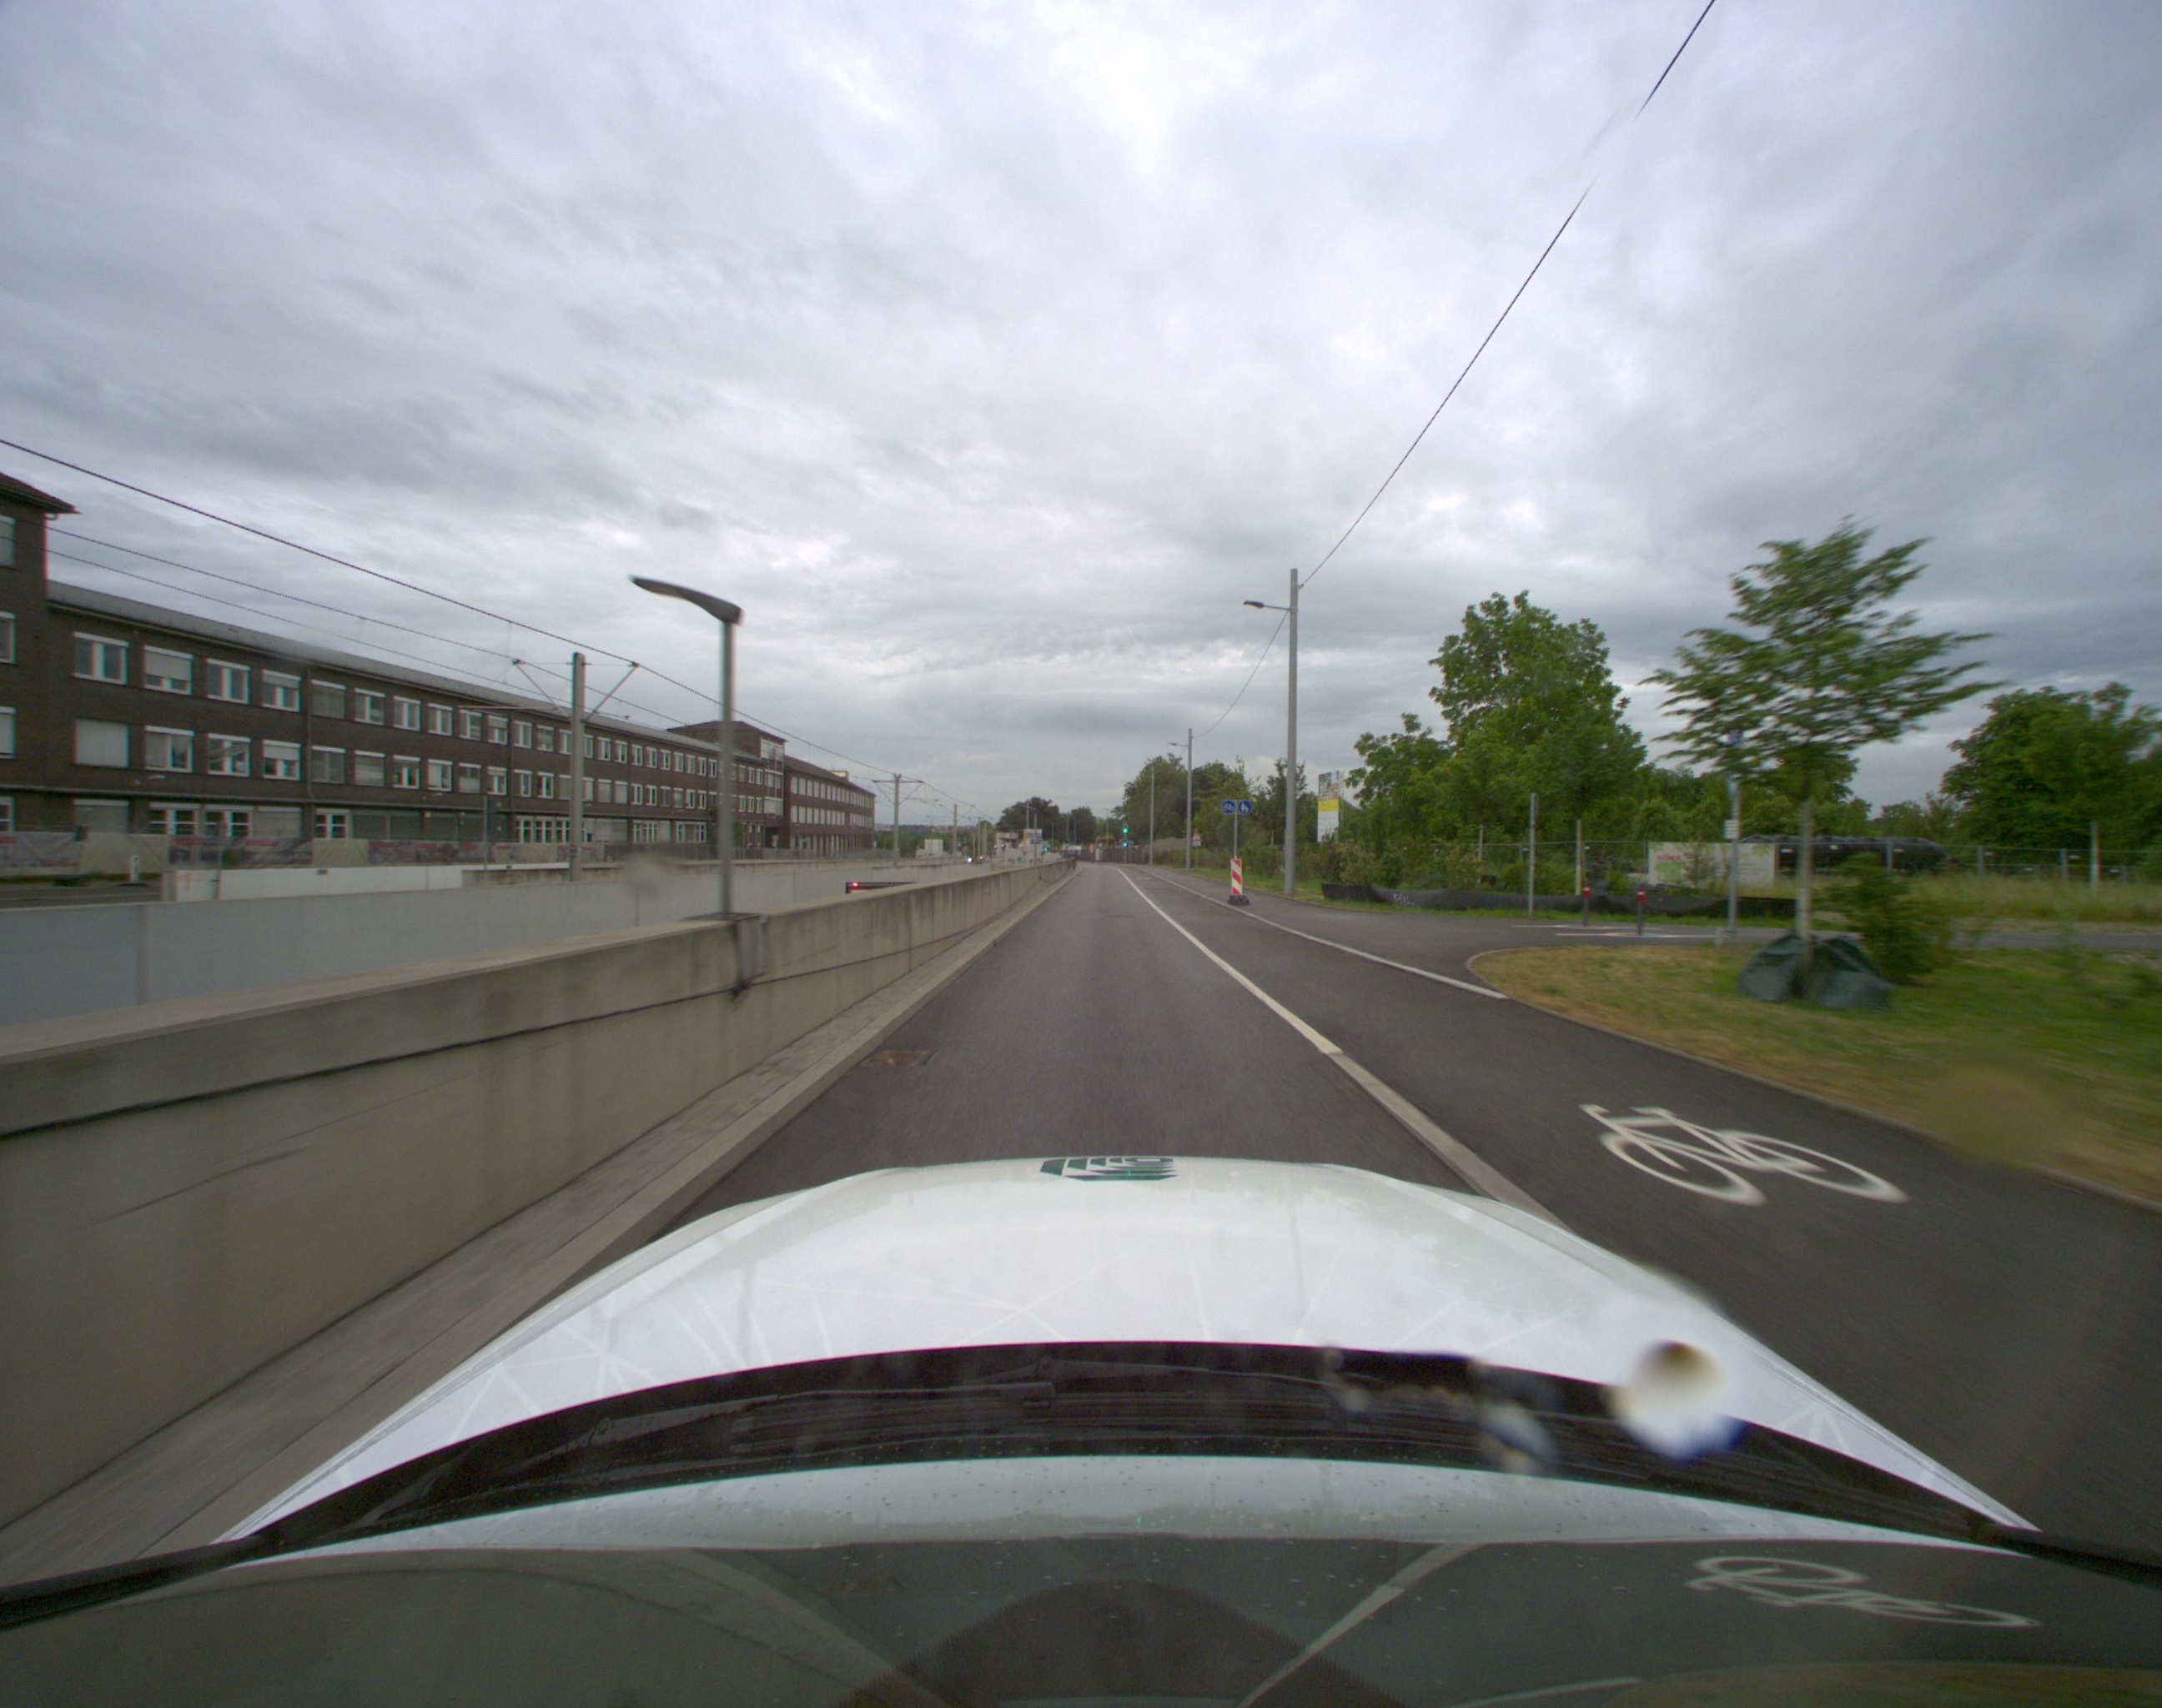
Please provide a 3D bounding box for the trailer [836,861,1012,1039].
[{"bbox_3d":[-4.504,2.470,27.027,2.752,4.252,13.189,-1,0,2],"label":"trailer"}]

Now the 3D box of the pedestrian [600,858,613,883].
[{"bbox_3d":[-38.006,1.333,65.198,0.669,2.014,0.652,0,-1,-1],"label":"pedestrian"}]
